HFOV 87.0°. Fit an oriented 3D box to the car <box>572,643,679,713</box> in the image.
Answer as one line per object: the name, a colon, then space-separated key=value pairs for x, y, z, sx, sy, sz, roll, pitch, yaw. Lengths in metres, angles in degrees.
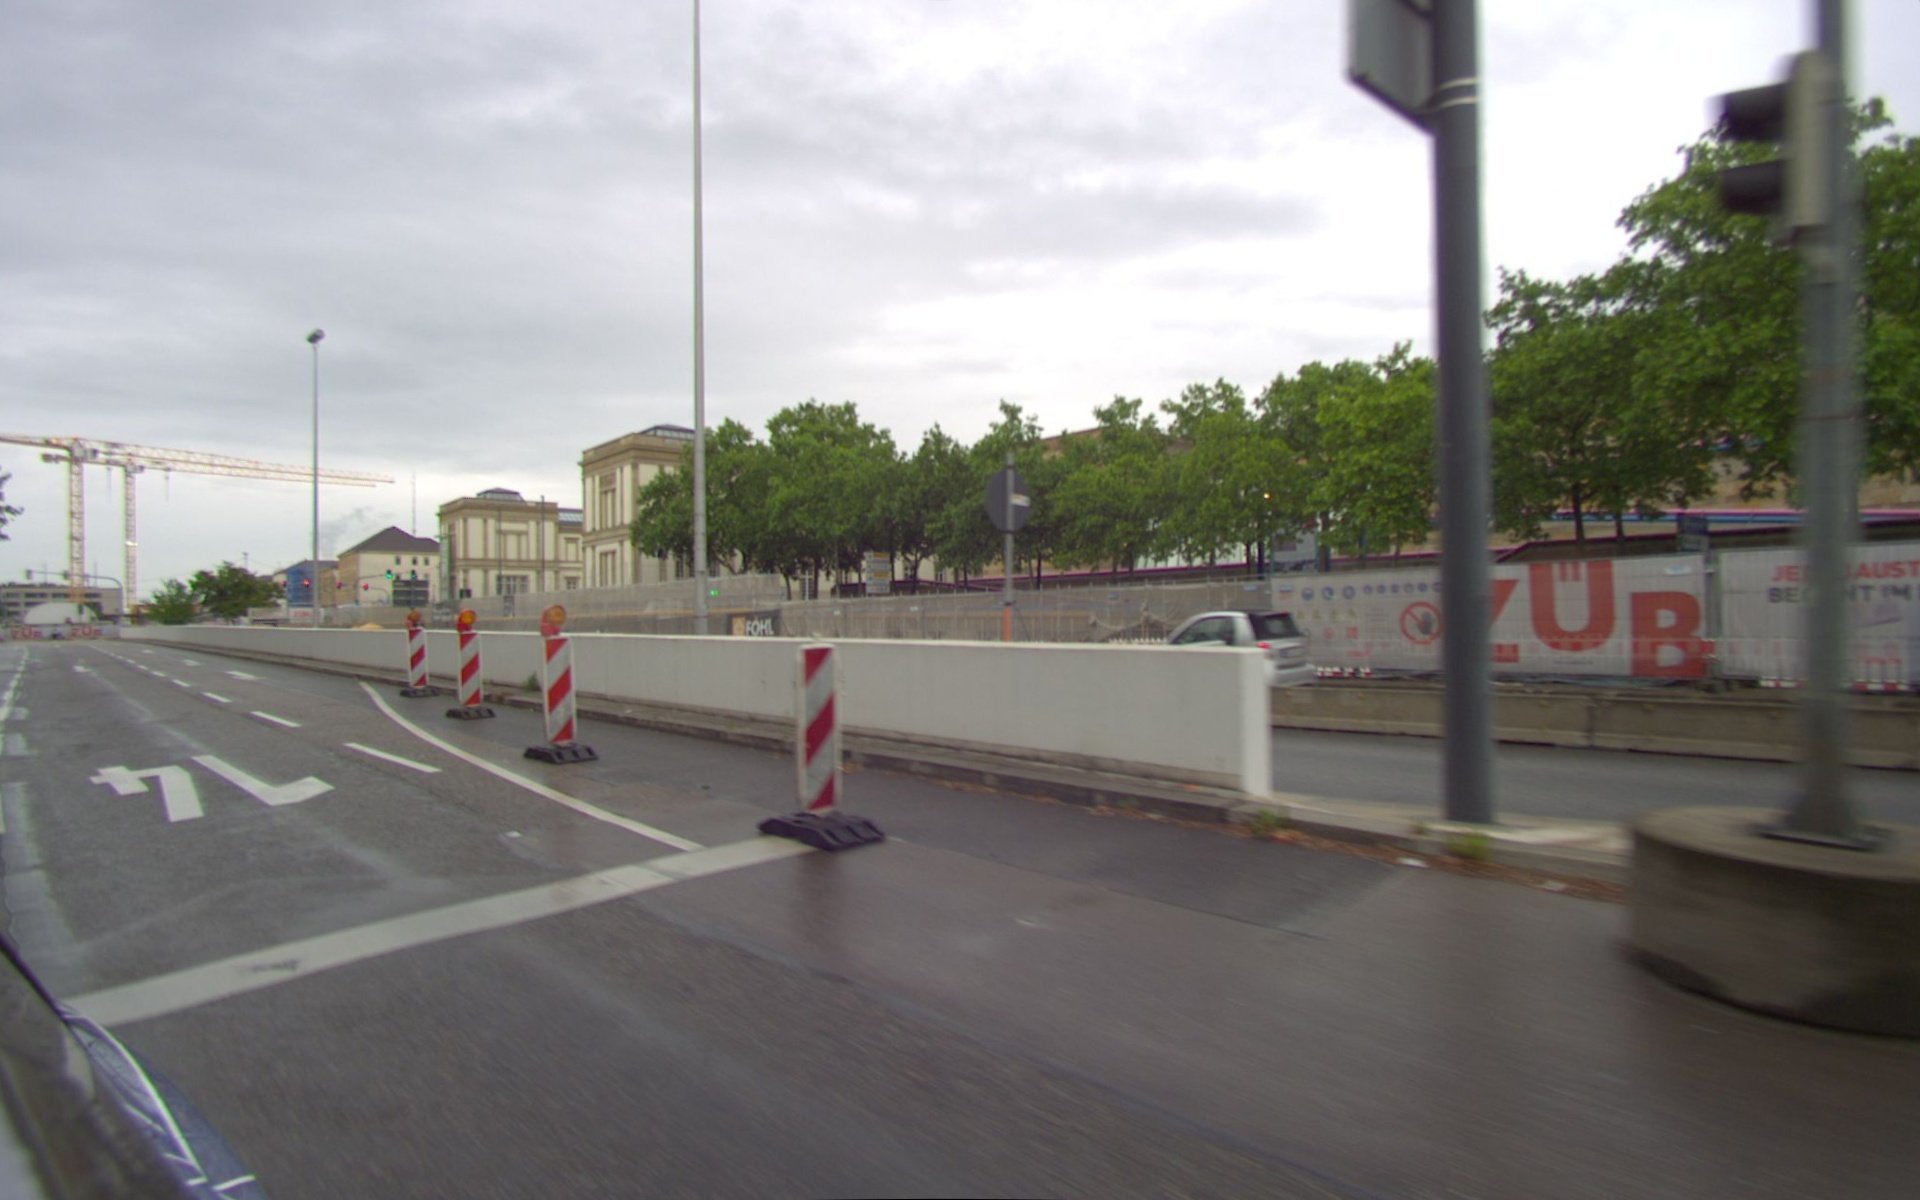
car: x=-11.050 y=2.480 z=33.278 sx=1.875 sy=2.029 sz=4.004 roll=1 pitch=-1 yaw=-43

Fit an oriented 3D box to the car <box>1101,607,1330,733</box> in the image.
car: x=4.220 y=1.078 z=16.981 sx=1.680 sy=1.882 sz=3.360 roll=1 pitch=-1 yaw=-44
